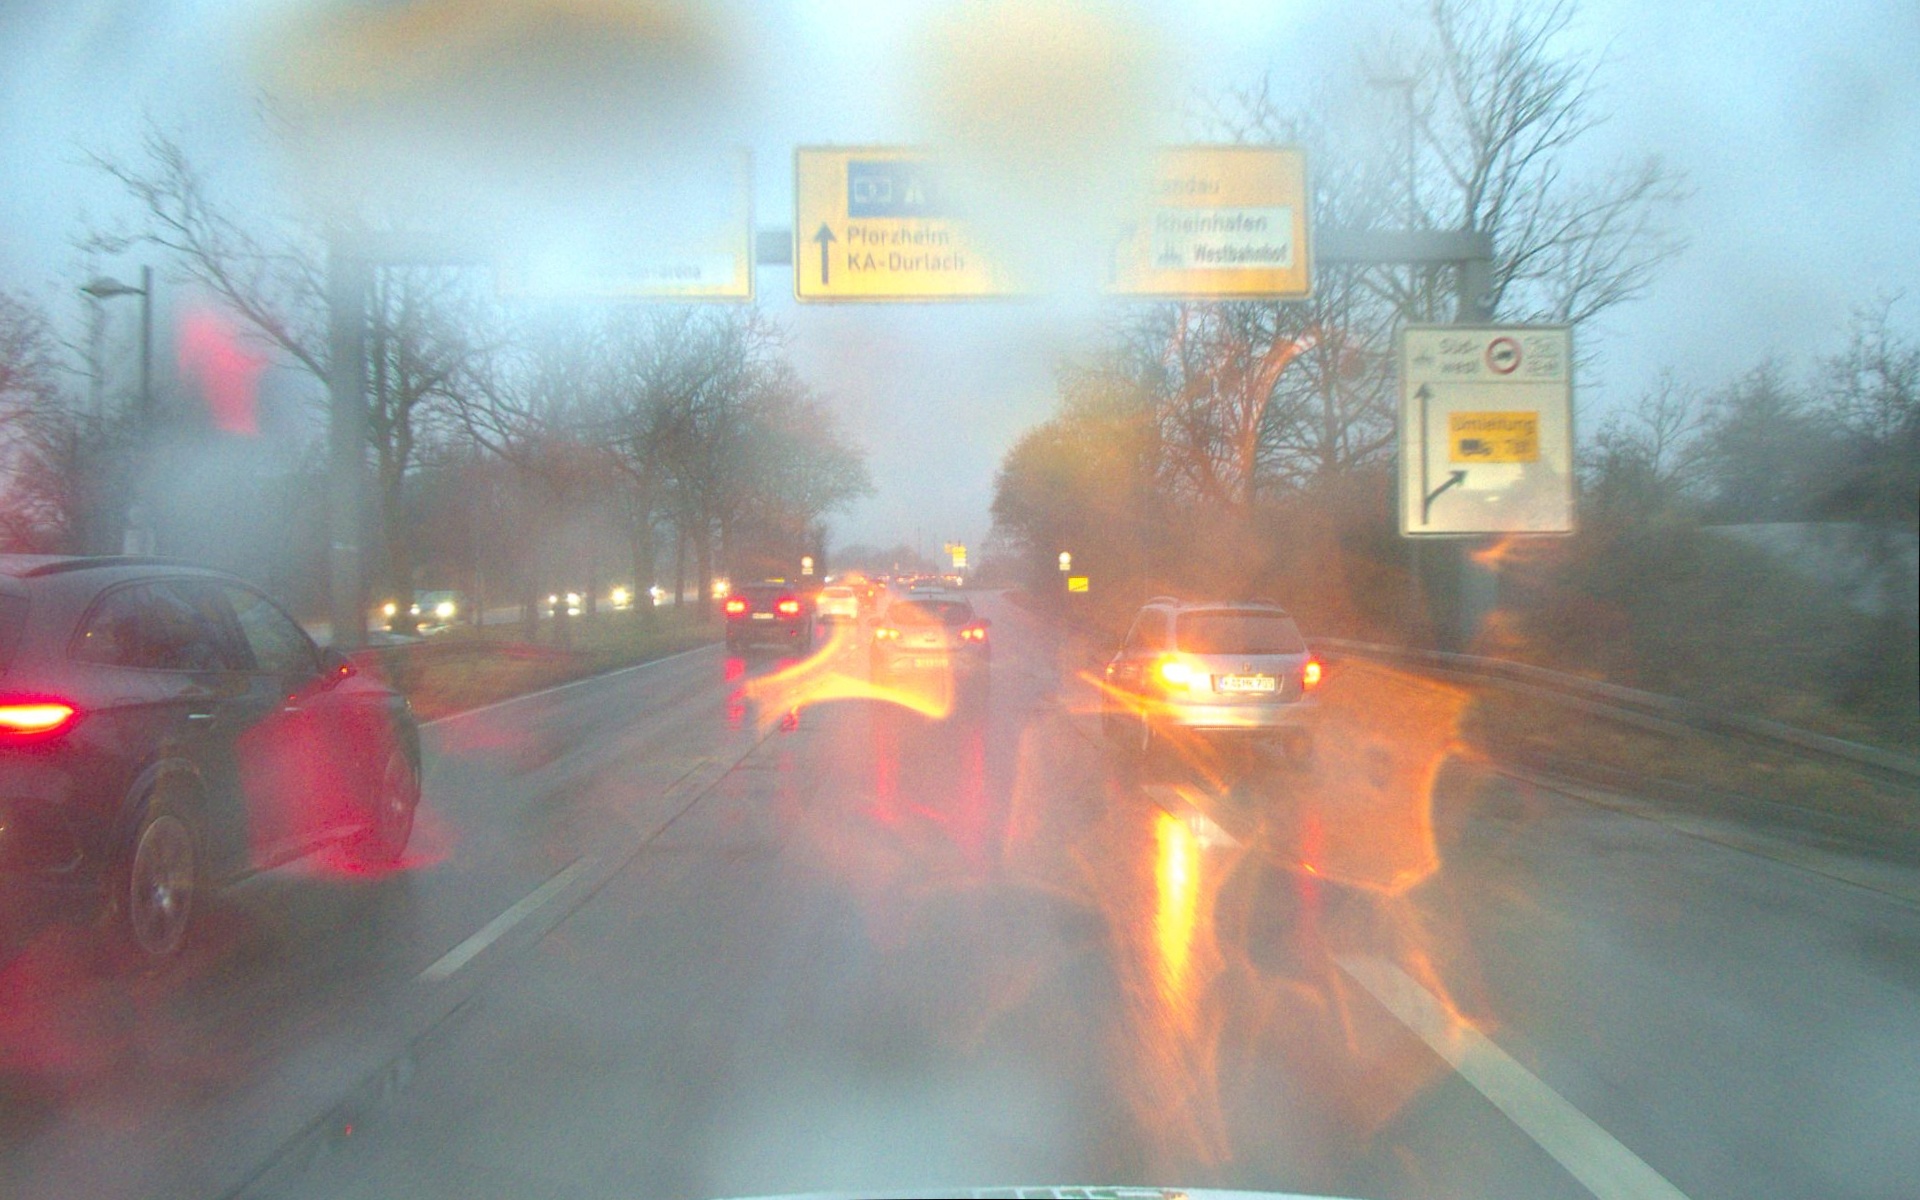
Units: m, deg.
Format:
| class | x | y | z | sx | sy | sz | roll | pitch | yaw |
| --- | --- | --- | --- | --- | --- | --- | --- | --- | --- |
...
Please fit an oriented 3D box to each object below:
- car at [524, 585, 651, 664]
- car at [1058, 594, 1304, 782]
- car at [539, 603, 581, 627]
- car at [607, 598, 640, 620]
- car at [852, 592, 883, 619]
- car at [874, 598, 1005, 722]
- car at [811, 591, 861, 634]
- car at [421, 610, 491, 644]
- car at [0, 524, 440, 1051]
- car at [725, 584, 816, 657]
| class | x | y | z | sx | sy | sz | roll | pitch | yaw |
| --- | --- | --- | --- | --- | --- | --- | --- | --- | --- |
| car | -8.054 | 0.509 | 36.109 | 1.953 | 1.625 | 3.999 | 0 | 0 | -2 |
| car | 2.144 | 0.826 | 17.242 | 1.894 | 1.677 | 4.465 | 1 | -1 | -1 |
| car | -26.250 | 0.971 | 108.669 | 1.716 | 1.508 | 4.197 | 0 | 0 | 0 |
| car | -22.439 | 0.593 | 110.349 | 1.605 | 1.363 | 3.997 | 1 | 0 | -4 |
| car | -4.876 | 0.307 | 87.848 | 1.474 | 1.362 | 3.999 | -1 | 0 | -1 |
| car | -0.305 | 0.854 | 25.068 | 1.785 | 1.677 | 4.465 | 1 | -1 | -1 |
| car | -4.994 | 0.498 | 66.941 | 1.785 | 1.677 | 3.999 | -1 | 0 | -1 |
| car | -21.179 | 1.113 | 69.677 | 1.716 | 1.331 | 4.314 | 0 | 0 | -2 |
| car | -3.865 | 0.613 | 7.464 | 1.786 | 1.677 | 4.464 | -1 | 0 | -3 |
| car | -4.528 | 0.476 | 40.071 | 1.785 | 1.677 | 3.999 | -1 | 0 | -1 |
